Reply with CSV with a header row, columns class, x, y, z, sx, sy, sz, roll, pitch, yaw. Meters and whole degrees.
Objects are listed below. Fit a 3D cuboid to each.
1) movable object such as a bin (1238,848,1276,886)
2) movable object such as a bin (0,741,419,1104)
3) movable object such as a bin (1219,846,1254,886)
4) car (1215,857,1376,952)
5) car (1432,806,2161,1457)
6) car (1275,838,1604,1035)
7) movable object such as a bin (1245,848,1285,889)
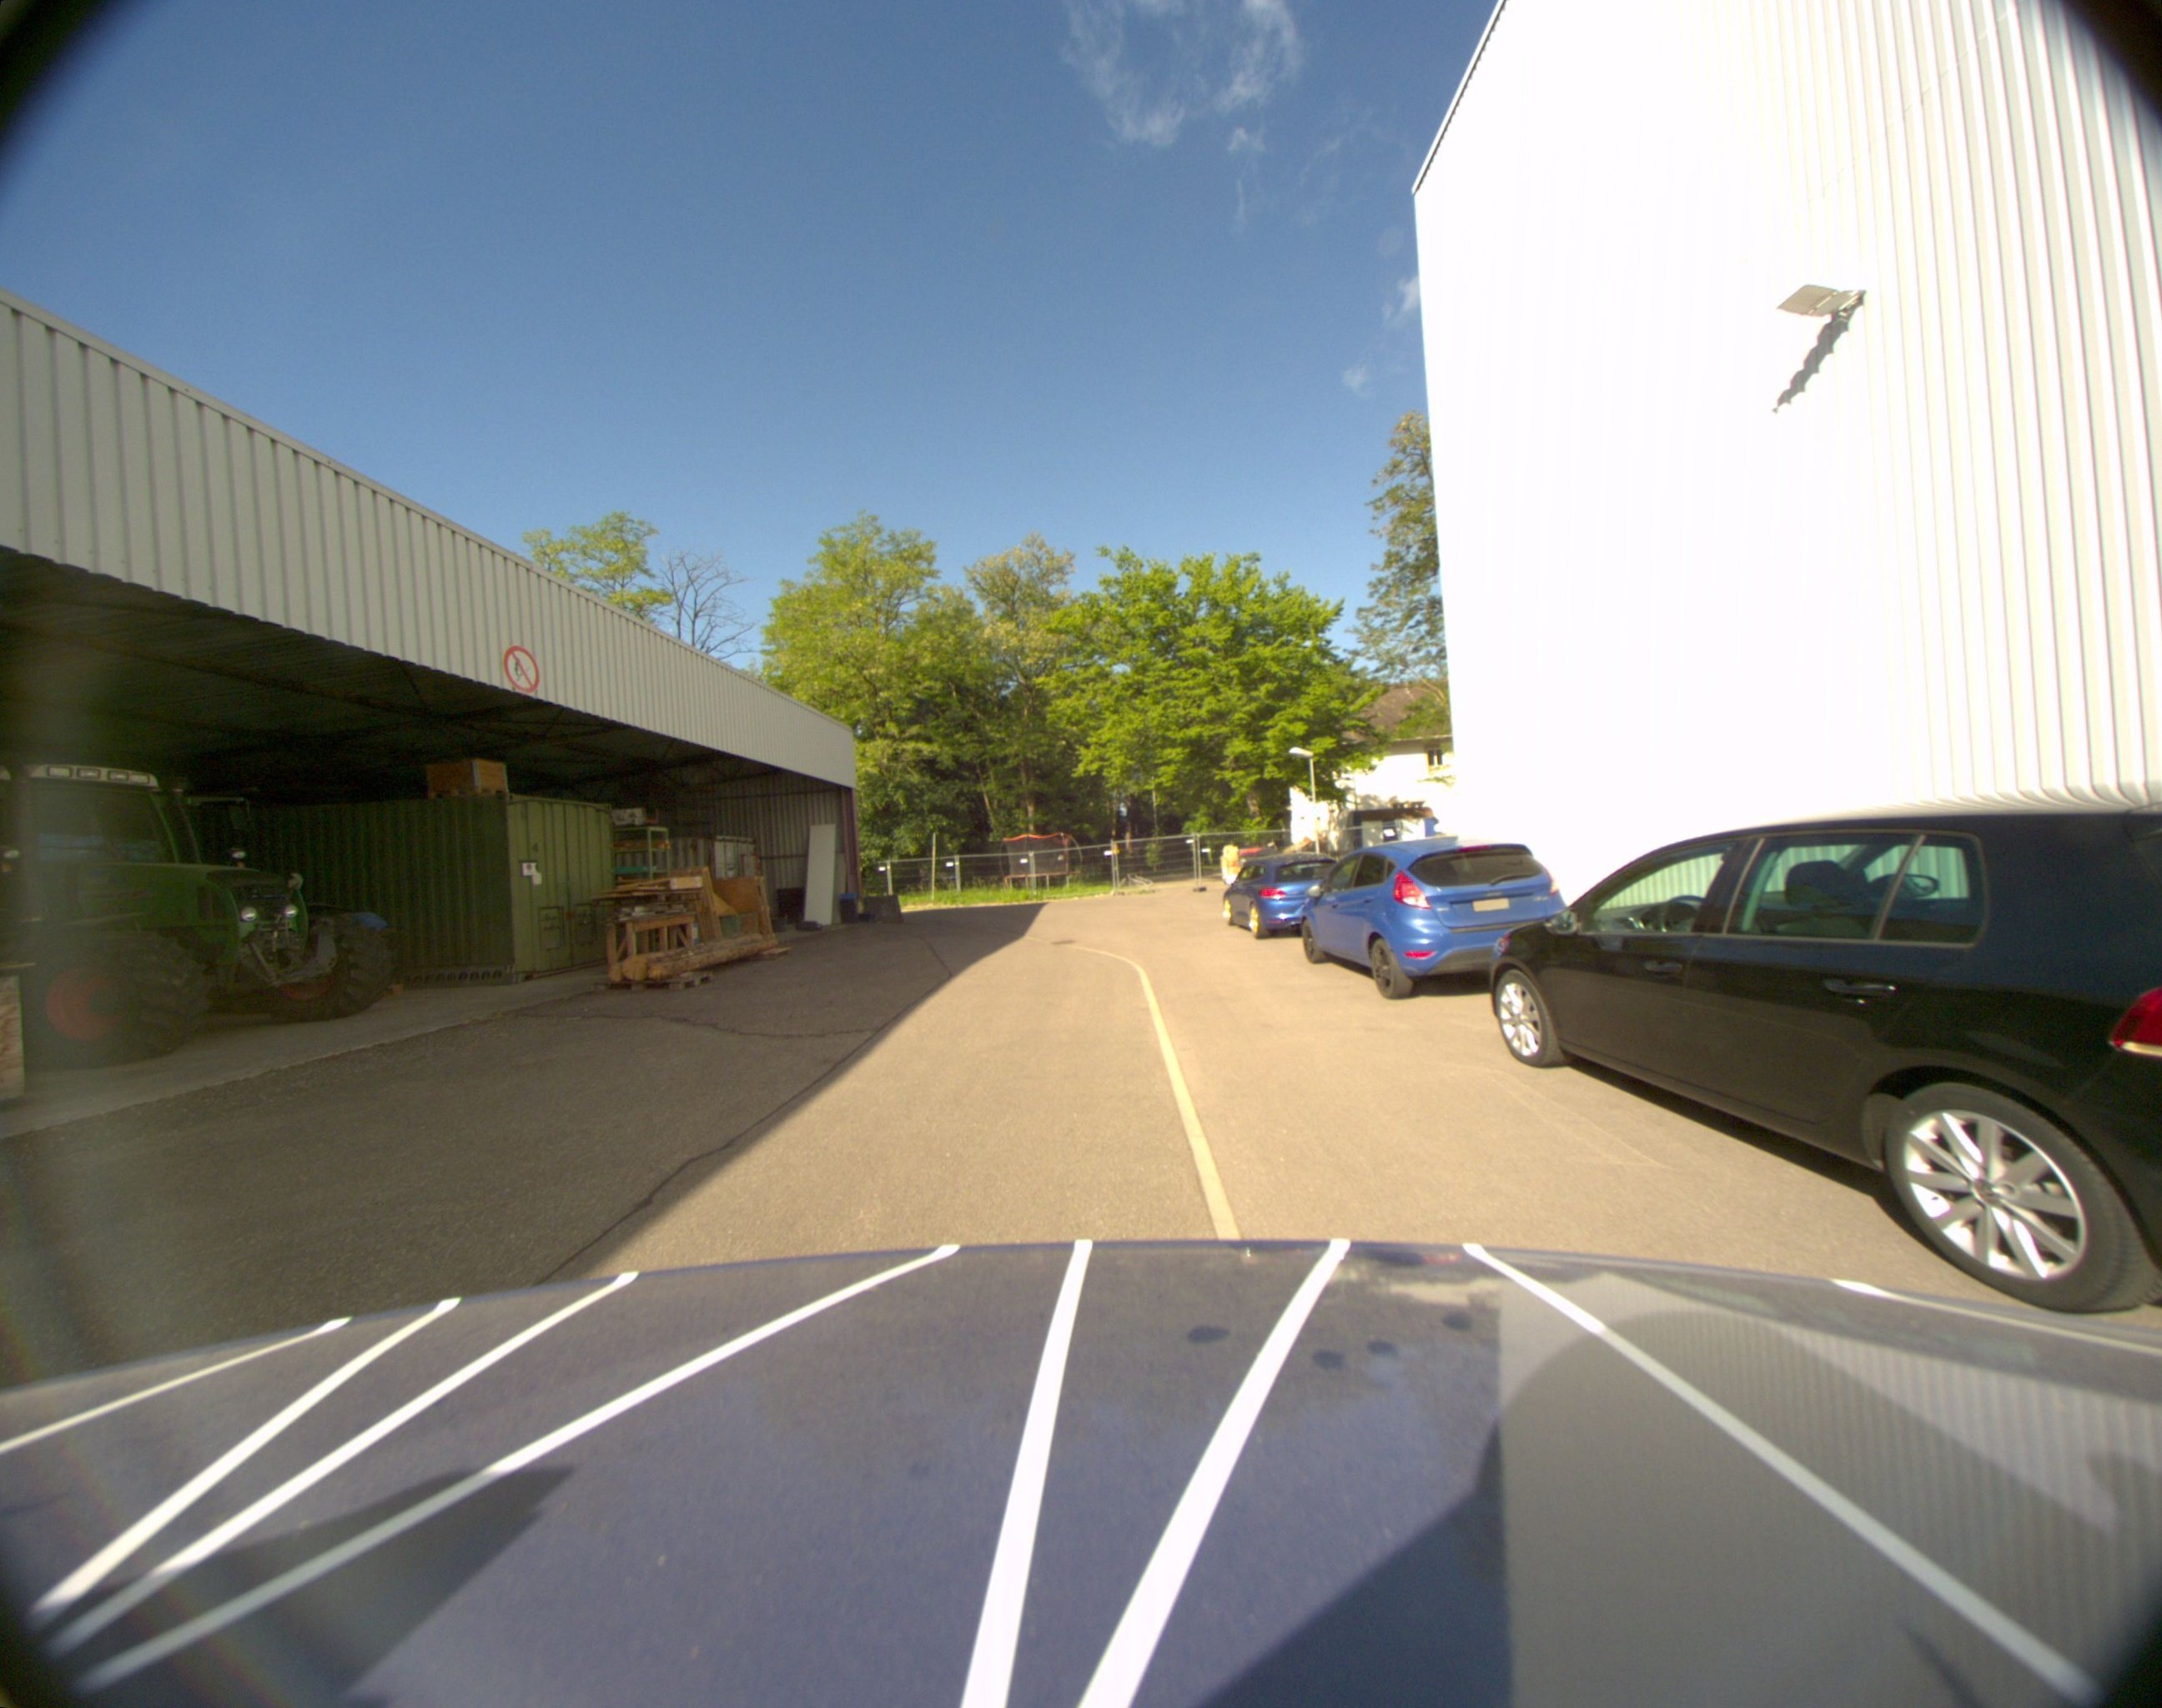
class,x,y,z,sx,sy,sz,roll,pitch,yaw
movable object such as a bin,7.082,0.515,30.650,1.093,1.431,1.230,-5,1,-4
movable object such as a bin,-12.883,0.848,7.905,9.214,2.893,3.212,-4,0,3
movable object such as a bin,6.658,0.492,32.561,1.093,1.588,1.230,-4,2,-4
car,3.714,0.795,13.916,1.778,1.352,4.054,-5,0,1
car,3.499,0.643,3.537,1.758,1.491,4.294,-6,0,2
car,3.553,0.707,8.469,1.635,1.491,4.095,-6,0,1
movable object such as a bin,7.085,0.543,29.316,1.093,1.424,1.230,-5,1,-4
